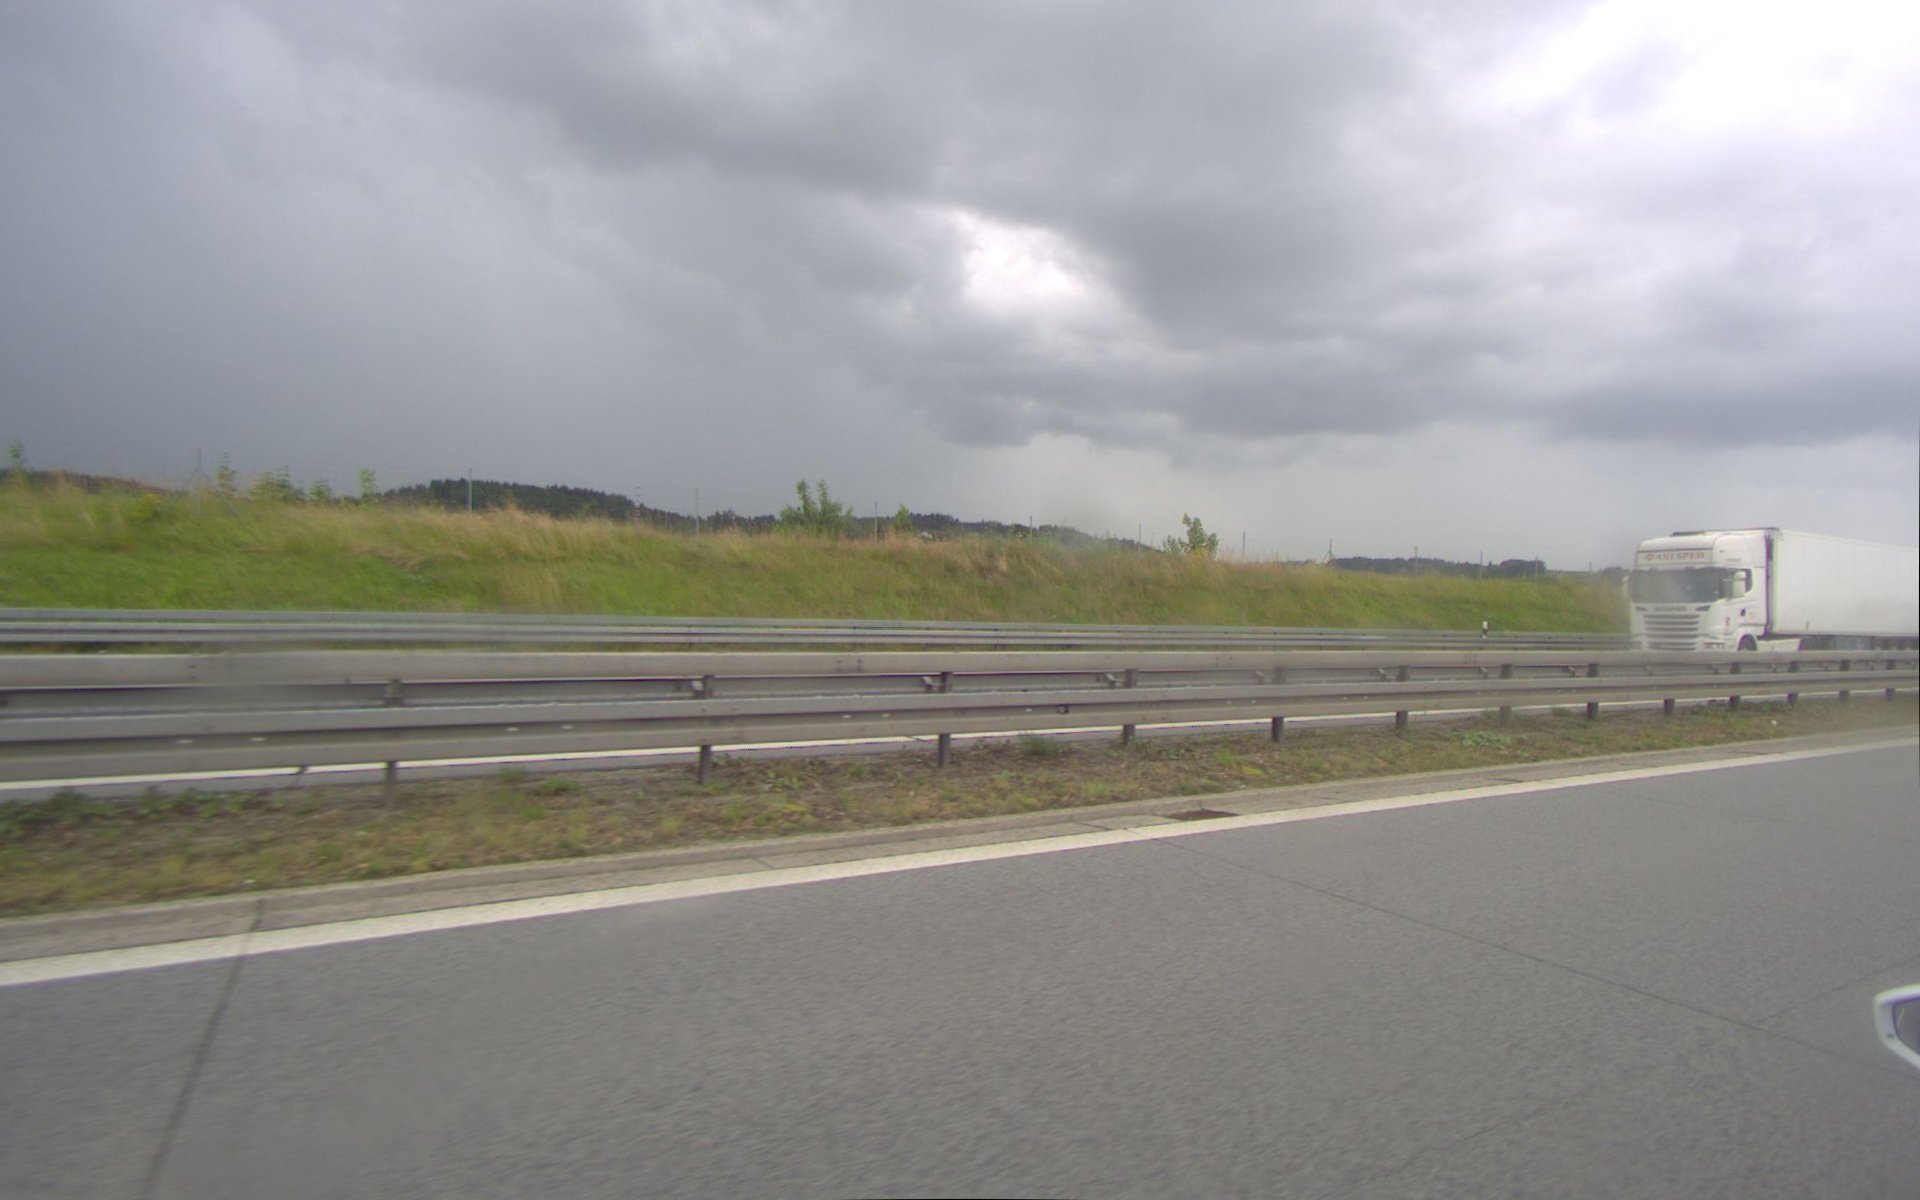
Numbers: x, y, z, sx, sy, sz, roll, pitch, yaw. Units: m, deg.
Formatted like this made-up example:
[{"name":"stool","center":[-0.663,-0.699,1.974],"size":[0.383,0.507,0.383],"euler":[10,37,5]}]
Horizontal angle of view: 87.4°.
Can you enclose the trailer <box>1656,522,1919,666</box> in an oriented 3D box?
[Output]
[{"name":"trailer","center":[27.876,-0.020,32.664],"size":[14.107,3.978,2.903],"euler":[1,0,-30]}]

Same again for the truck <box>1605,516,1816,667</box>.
[{"name":"truck","center":[21.684,-0.183,29.011],"size":[5.453,3.978,2.938],"euler":[1,0,-30]}]
